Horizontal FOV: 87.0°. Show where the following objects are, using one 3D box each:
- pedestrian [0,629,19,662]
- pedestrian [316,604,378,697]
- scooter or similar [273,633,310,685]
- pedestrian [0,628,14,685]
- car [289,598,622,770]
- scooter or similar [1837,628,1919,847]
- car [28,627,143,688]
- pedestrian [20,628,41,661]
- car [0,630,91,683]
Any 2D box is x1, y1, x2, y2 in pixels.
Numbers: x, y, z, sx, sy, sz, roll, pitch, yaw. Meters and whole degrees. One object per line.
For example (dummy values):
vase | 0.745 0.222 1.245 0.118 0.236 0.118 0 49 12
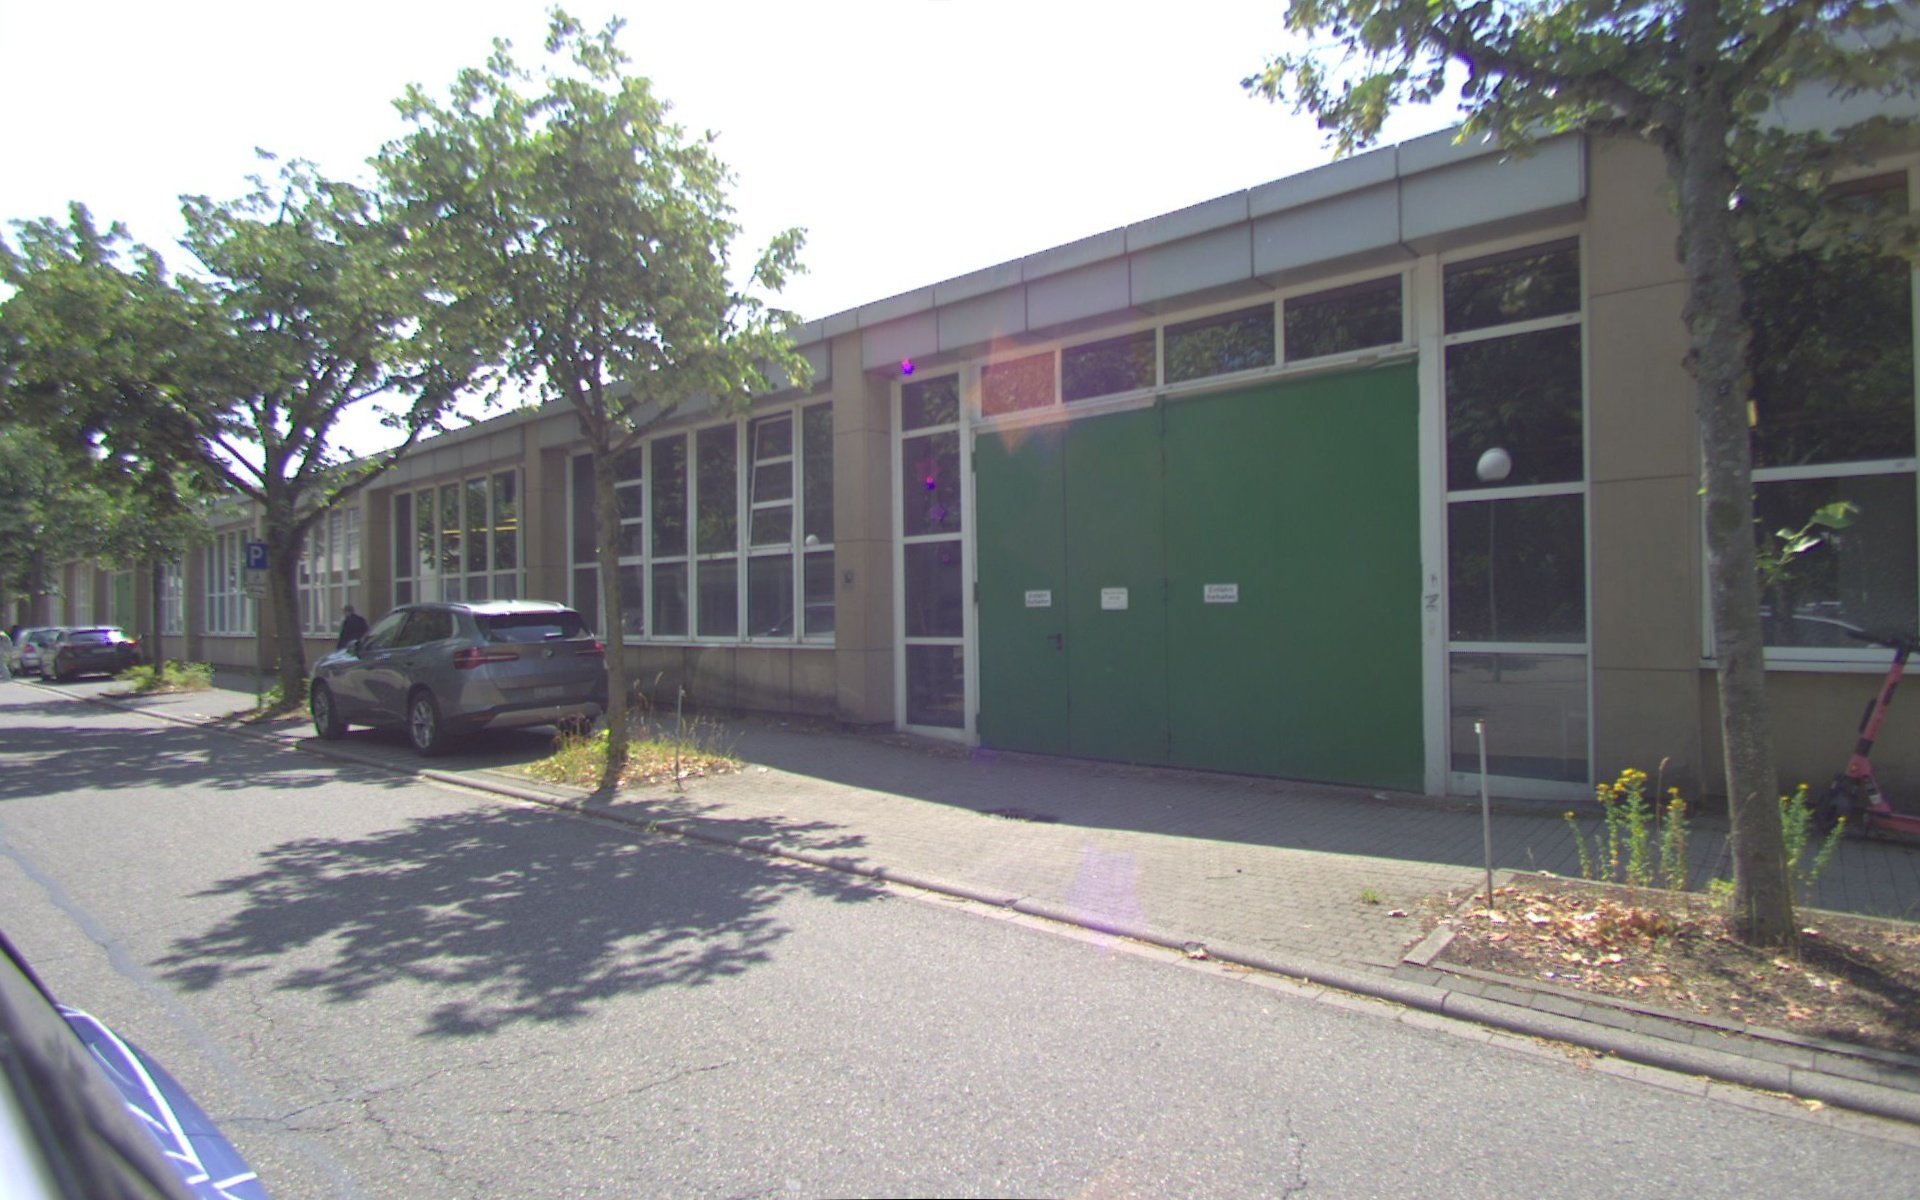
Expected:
pedestrian | -46.068 2.195 48.961 0.595 1.593 0.553 1 -3 -19
pedestrian | -12.359 1.008 20.414 0.664 1.800 0.786 -3 -1 17
scooter or similar | -16.483 1.449 24.931 1.245 1.216 0.379 -3 0 40
pedestrian | -26.895 1.575 28.158 0.664 1.553 0.786 -2 -2 43
car | -6.159 0.873 12.127 4.511 1.644 1.804 -1 1 39
scooter or similar | 5.612 0.751 5.525 1.215 1.178 0.500 -2 0 41
car | -23.924 1.549 27.639 4.286 1.446 1.708 -3 0 40
pedestrian | -45.501 2.180 49.535 0.550 1.593 0.598 -3 -4 38
car | -28.299 1.701 31.234 3.750 1.460 1.613 -2 1 40
